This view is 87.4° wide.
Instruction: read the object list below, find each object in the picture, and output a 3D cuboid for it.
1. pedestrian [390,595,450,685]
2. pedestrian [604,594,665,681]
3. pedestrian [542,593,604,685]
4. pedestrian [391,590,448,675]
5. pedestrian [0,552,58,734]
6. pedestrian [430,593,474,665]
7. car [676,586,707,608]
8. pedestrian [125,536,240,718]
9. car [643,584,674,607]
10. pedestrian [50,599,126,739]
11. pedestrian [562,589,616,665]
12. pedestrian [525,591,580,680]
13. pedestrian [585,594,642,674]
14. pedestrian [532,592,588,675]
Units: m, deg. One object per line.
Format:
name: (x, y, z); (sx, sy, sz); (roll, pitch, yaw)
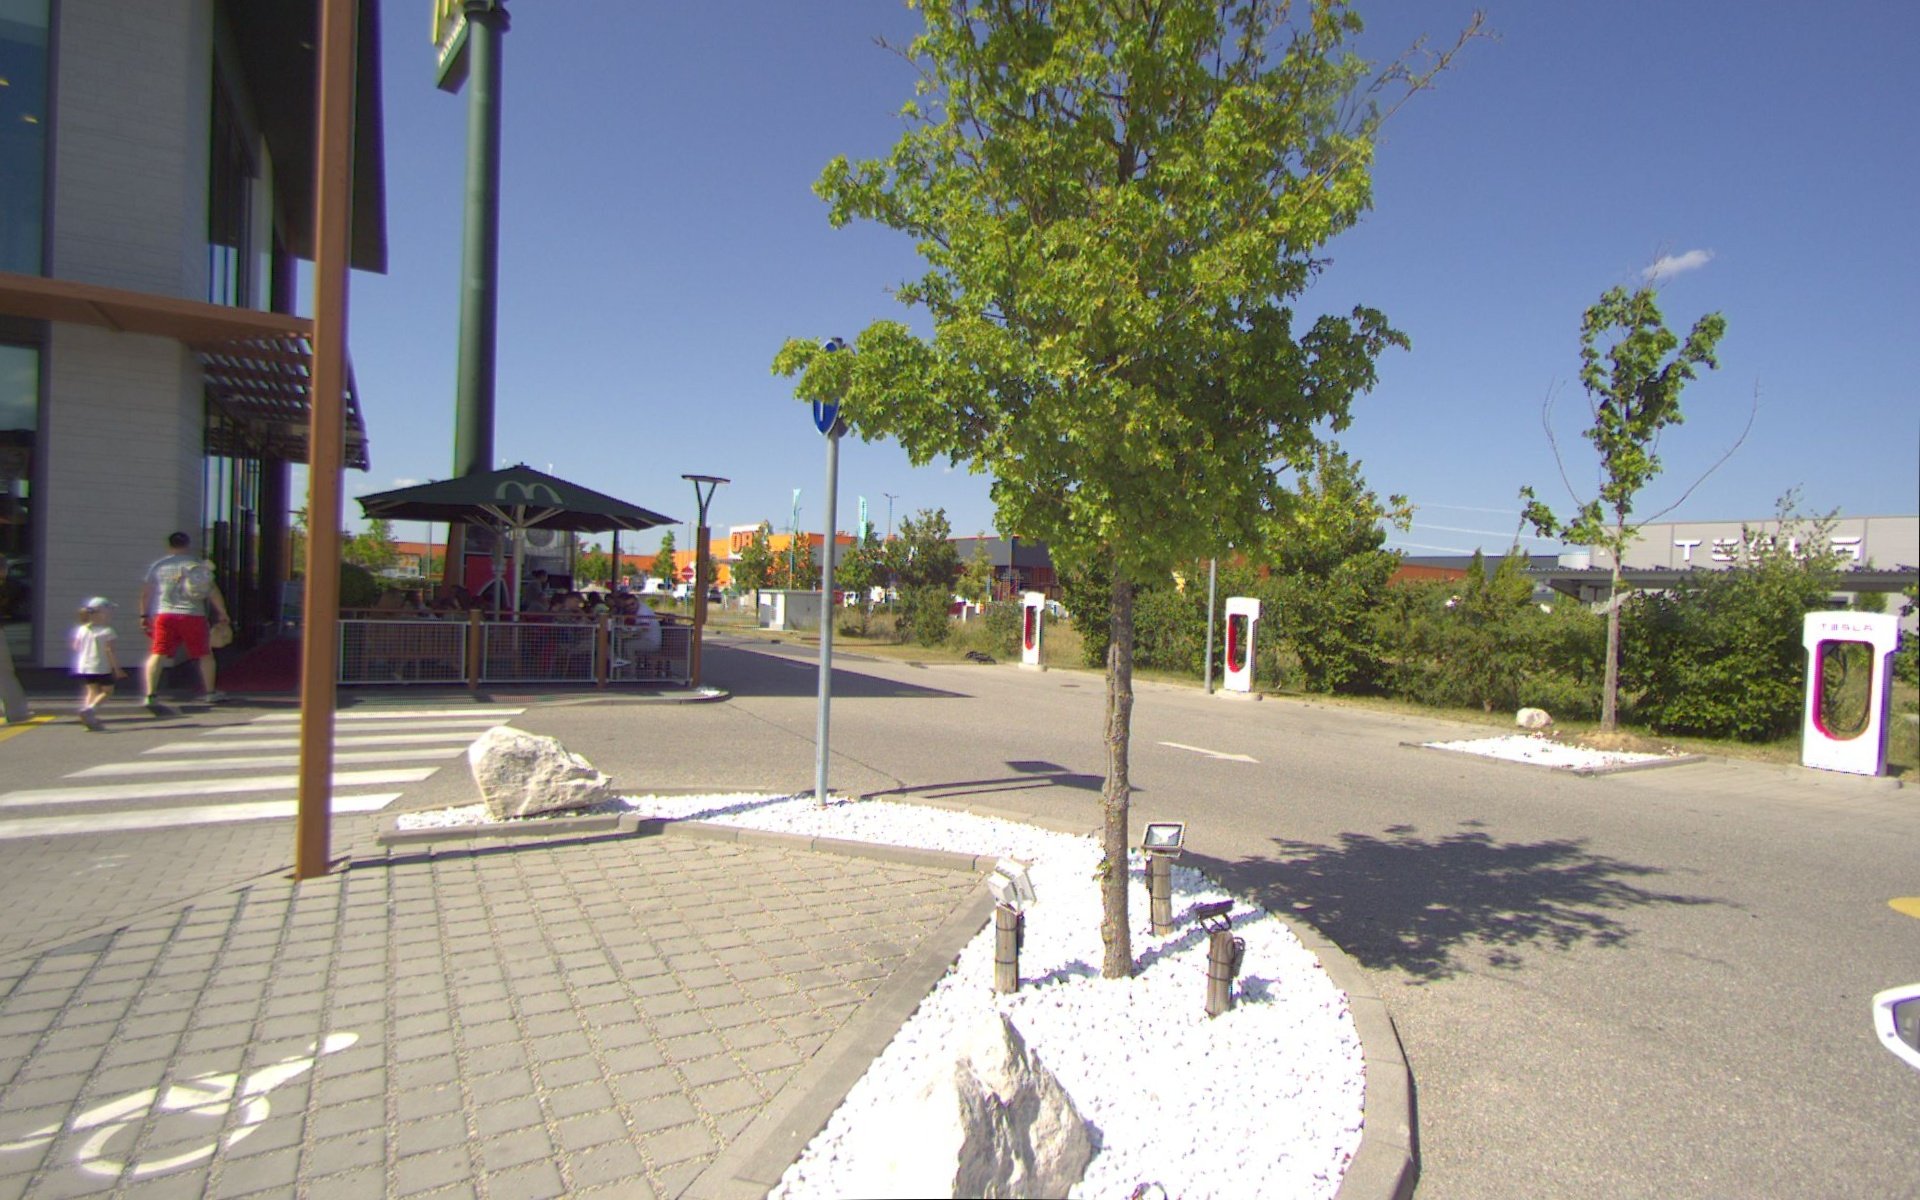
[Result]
pedestrian: (-7.096, 0.523, 13.203); (0.628, 1.139, 0.519); (2, 0, -34)
pedestrian: (-4.929, 0.562, 15.194); (0.722, 1.275, 0.567); (2, 0, -35)
pedestrian: (-5.512, 0.545, 14.307); (0.708, 1.275, 0.519); (2, 0, -34)
pedestrian: (-7.467, 0.447, 13.874); (0.628, 1.139, 0.519); (2, 0, -34)
pedestrian: (-8.811, 0.366, 9.072); (0.730, 1.605, 0.725); (2, 0, -20)
pedestrian: (-8.180, 0.461, 16.168); (0.567, 1.115, 0.651); (2, 0, -31)
car: (-26.443, -0.294, 98.919); (1.977, 2.040, 3.968); (3, -1, -30)
pedestrian: (-8.092, 0.269, 10.472); (0.889, 1.792, 0.794); (2, 0, -39)
car: (-29.107, -0.441, 96.867); (1.977, 2.040, 3.968); (3, -1, -30)
pedestrian: (-7.792, 0.601, 8.987); (0.444, 1.202, 0.486); (2, 0, -36)
pedestrian: (-6.386, 0.463, 17.271); (0.722, 1.275, 0.567); (2, 0, -35)
pedestrian: (-6.003, 0.521, 14.796); (0.628, 1.275, 0.519); (2, 0, -34)
pedestrian: (-5.666, 0.547, 16.408); (0.722, 1.275, 0.567); (2, 0, -35)
pedestrian: (-6.379, 0.527, 16.017); (0.708, 1.275, 0.519); (2, 0, -34)
